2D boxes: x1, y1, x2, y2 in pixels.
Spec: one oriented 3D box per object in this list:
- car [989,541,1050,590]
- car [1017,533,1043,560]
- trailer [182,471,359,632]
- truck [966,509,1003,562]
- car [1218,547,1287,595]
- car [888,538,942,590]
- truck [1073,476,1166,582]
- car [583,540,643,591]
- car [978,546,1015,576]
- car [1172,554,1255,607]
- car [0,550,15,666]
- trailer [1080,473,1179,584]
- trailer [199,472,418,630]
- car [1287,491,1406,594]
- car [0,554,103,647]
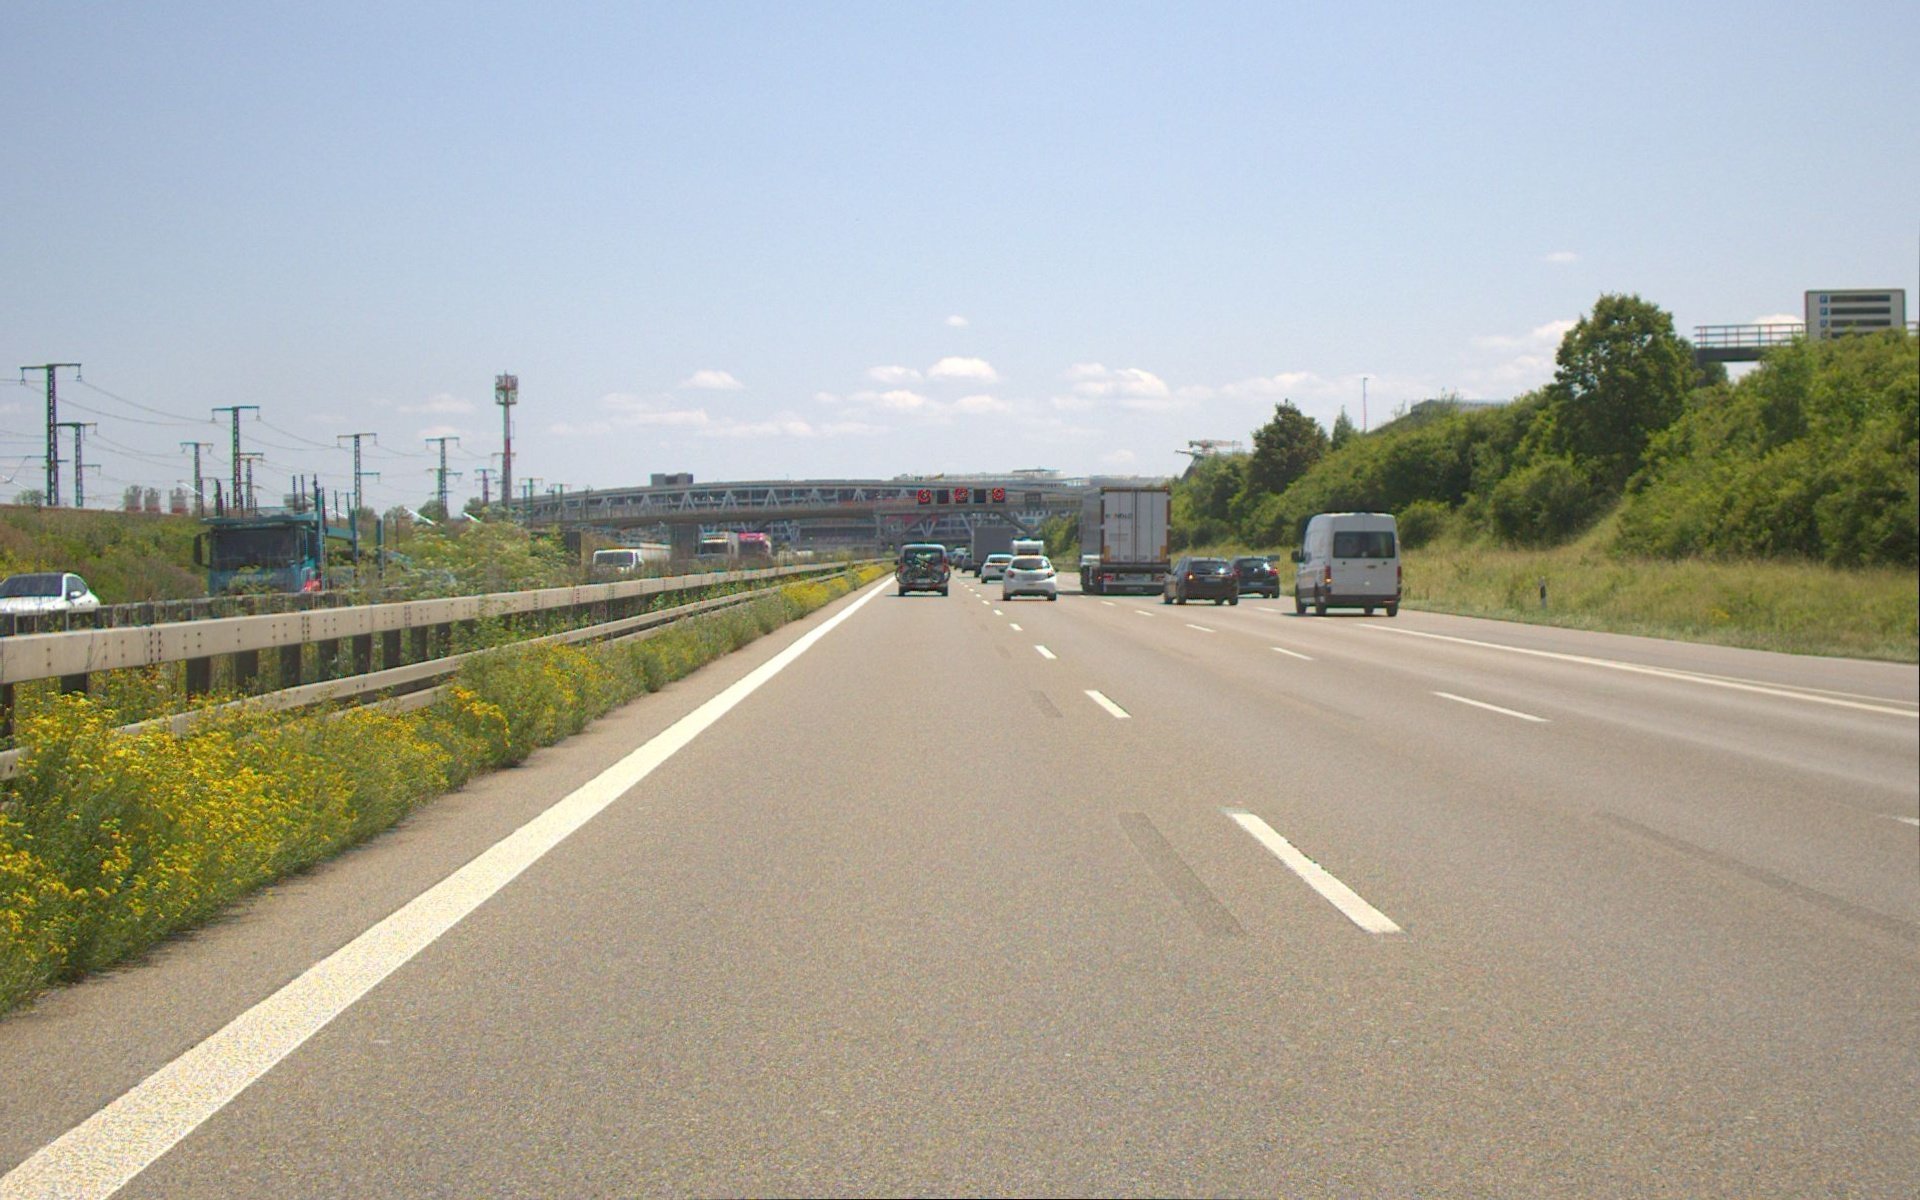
[{"bbox_3d":[1.951,-1.111,112.094,1.881,1.521,4.000,0,0,2],"label":"car"},{"bbox_3d":[5.294,-4.038,260.043,1.993,2.007,4.437,-1,1,1],"label":"car"},{"bbox_3d":[-17.199,-1.224,86.240,3.050,3.854,7.204,-1,1,-1],"label":"trailer"},{"bbox_3d":[1.556,-4.171,224.058,2.355,3.404,6.057,0,1,0],"label":"truck"},{"bbox_3d":[10.283,-1.014,121.240,1.993,1.590,4.000,1,0,-1],"label":"car"},{"bbox_3d":[-1.574,-1.268,122.202,1.881,1.769,4.000,-1,0,0],"label":"car"},{"bbox_3d":[6.340,-2.825,138.135,3.177,4.045,9.440,-1,1,0],"label":"truck"},{"bbox_3d":[-13.917,-1.412,138.126,1.993,2.007,5.433,0,1,-1],"label":"car"},{"bbox_3d":[1.910,-1.998,177.743,1.881,1.521,4.000,0,0,1],"label":"car"},{"bbox_3d":[7.680,-0.575,104.466,1.993,1.503,4.000,1,0,-3],"label":"car"},{"bbox_3d":[-15.820,0.186,51.387,1.920,1.794,5.197,-2,1,0],"label":"car"},{"bbox_3d":[6.375,-2.695,130.679,3.177,4.045,9.440,-1,1,0],"label":"trailer"},{"bbox_3d":[-17.283,-1.329,92.527,3.050,3.854,15.978,-1,1,-1],"label":"trailer"},{"bbox_3d":[9.732,-1.451,86.920,2.274,2.519,5.400,0,1,-1],"label":"car"},{"bbox_3d":[-21.067,0.040,78.162,1.993,2.007,4.495,-2,0,0],"label":"car"}]
